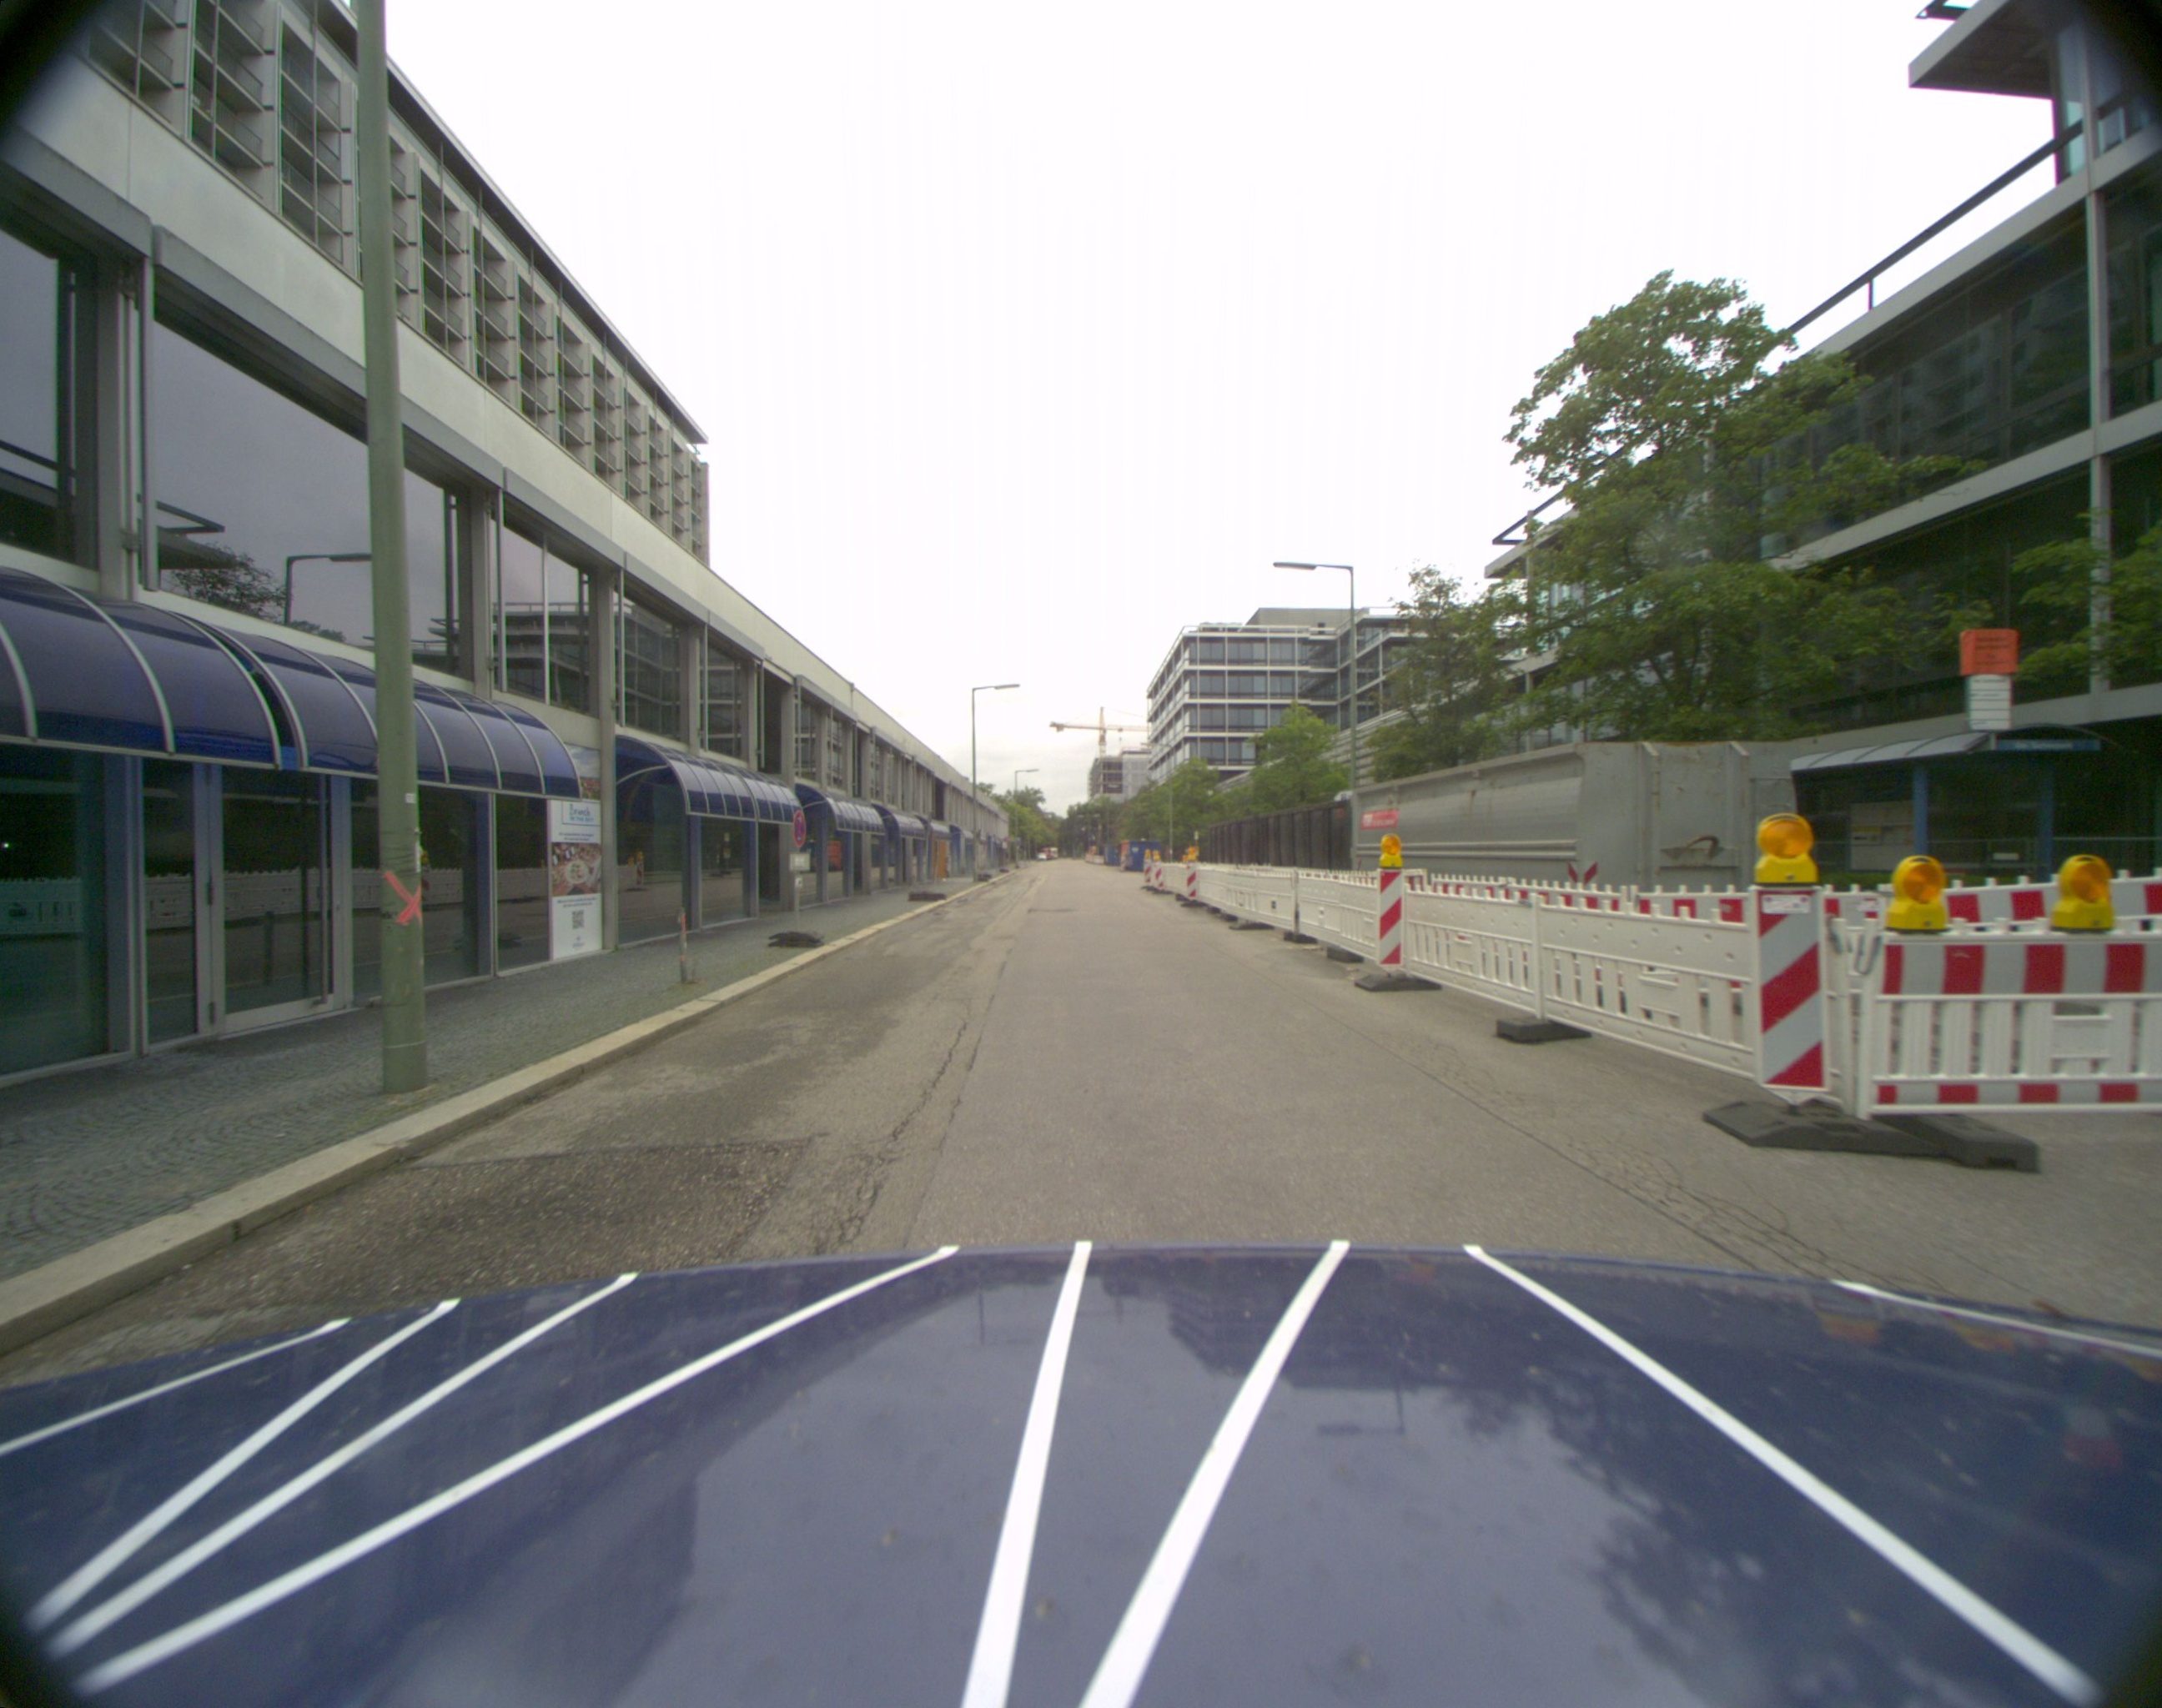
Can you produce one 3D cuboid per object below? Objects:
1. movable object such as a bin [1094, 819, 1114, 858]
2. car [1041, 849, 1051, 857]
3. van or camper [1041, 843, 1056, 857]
[{"bbox_3d":[3.822,-2.608,128.461,3.242,6.286,8.335,0,1,1],"label":"movable object such as a bin"},{"bbox_3d":[-7.139,-0.239,154.155,1.913,1.627,3.999,0,1,0],"label":"car"},{"bbox_3d":[-6.924,-0.865,160.432,2.667,2.751,6.915,0,1,2],"label":"van or camper"}]
